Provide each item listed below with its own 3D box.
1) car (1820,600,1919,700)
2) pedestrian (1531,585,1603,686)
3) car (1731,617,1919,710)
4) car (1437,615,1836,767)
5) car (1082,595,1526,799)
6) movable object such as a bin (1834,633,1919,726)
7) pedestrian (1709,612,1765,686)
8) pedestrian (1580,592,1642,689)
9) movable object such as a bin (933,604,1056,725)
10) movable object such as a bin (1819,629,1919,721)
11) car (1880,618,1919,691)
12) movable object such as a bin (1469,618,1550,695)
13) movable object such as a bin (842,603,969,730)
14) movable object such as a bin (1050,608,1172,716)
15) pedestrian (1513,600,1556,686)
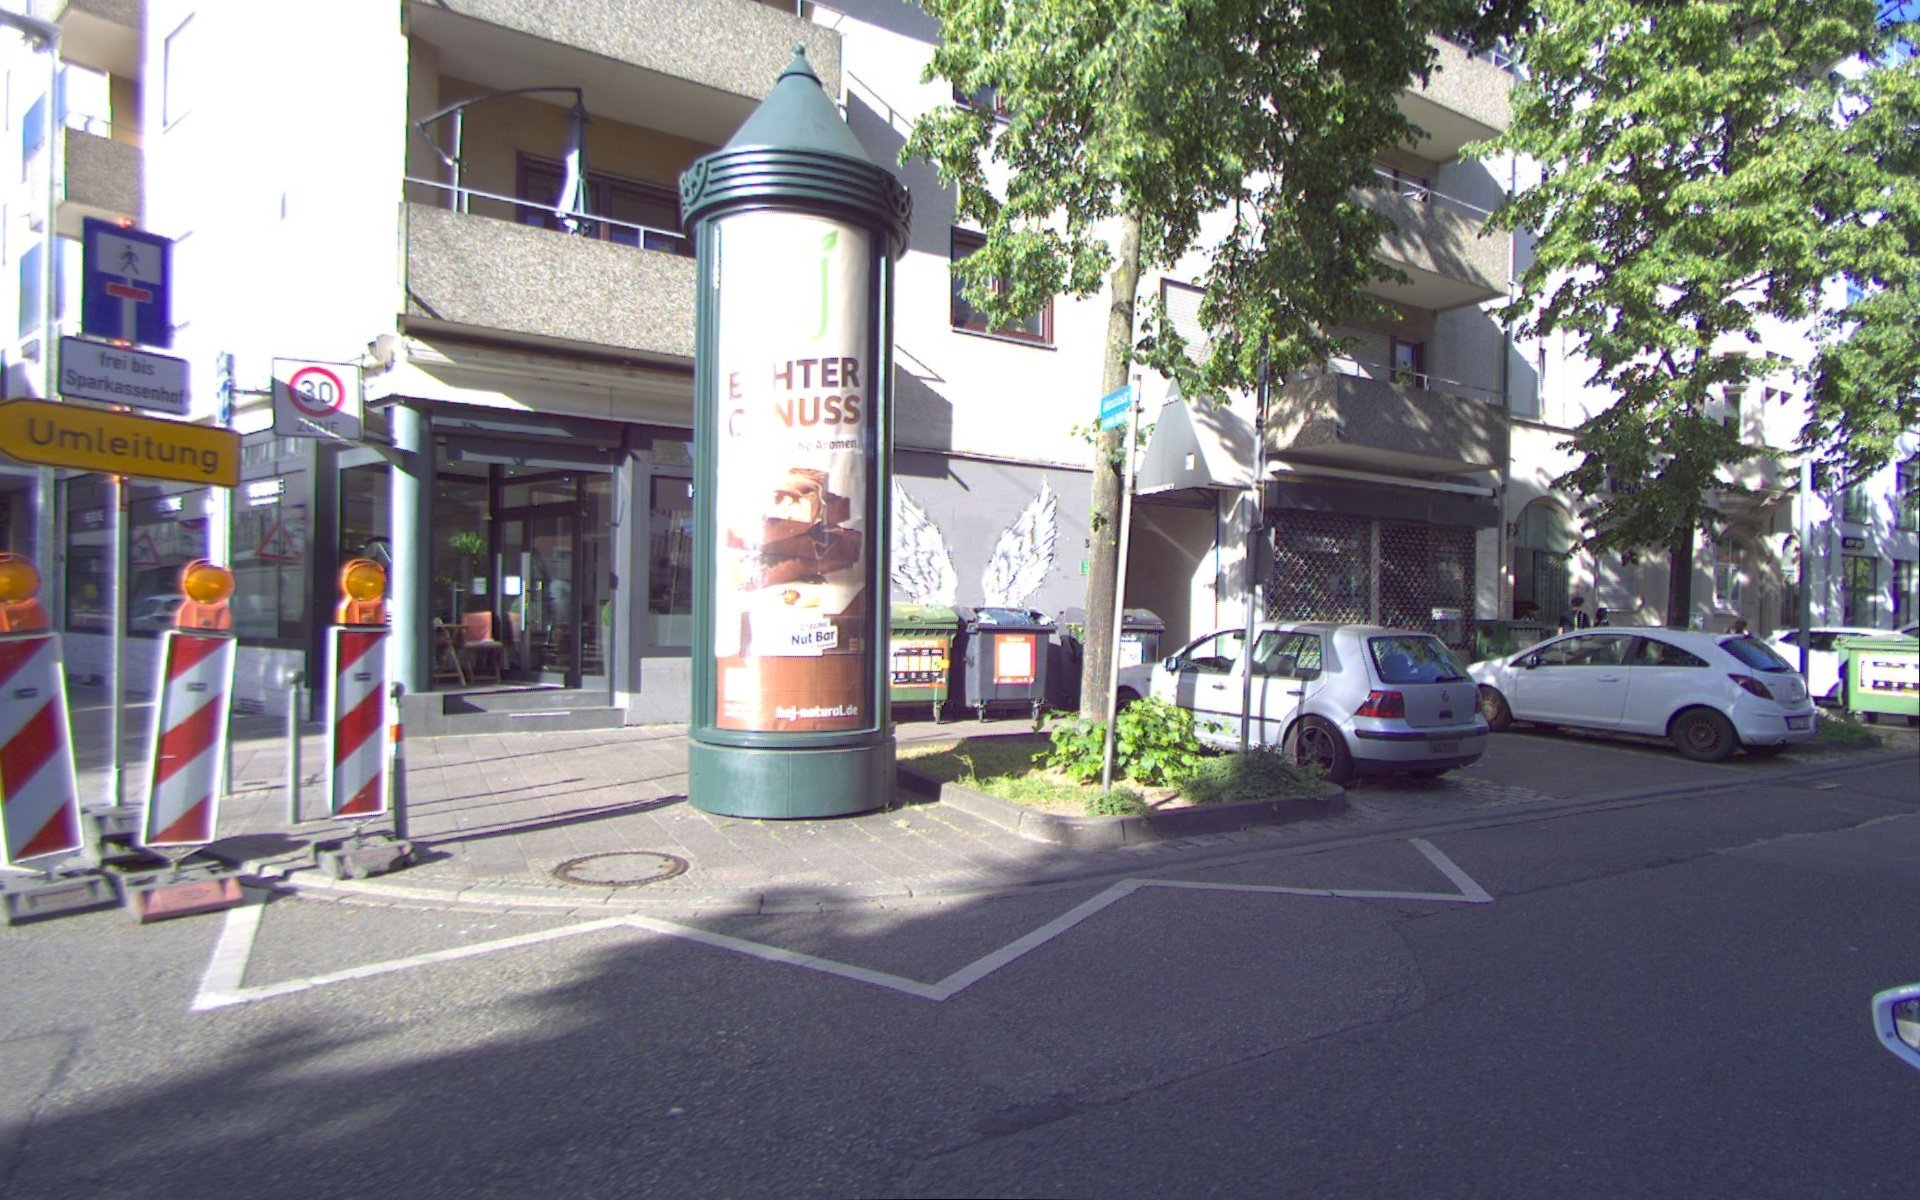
[{"bbox_3d":[19.208,0.964,18.937,2.014,1.861,4.087,1,1,-29],"label":"car"},{"bbox_3d":[11.209,0.642,18.557,0.755,1.790,0.770,1,4,-32],"label":"pedestrian"},{"bbox_3d":[16.553,1.112,17.985,1.864,1.483,3.962,1,0,-29],"label":"car"},{"bbox_3d":[8.179,0.981,12.487,1.691,1.483,3.757,1,1,-32],"label":"car"},{"bbox_3d":[3.115,0.784,9.945,1.728,1.483,3.979,3,0,-30],"label":"car"},{"bbox_3d":[14.086,1.167,15.091,0.860,1.319,1.231,1,0,-31],"label":"movable object such as a bin"},{"bbox_3d":[16.418,1.026,21.222,0.832,1.514,0.590,1,2,-29],"label":"pedestrian"},{"bbox_3d":[11.599,0.708,17.900,0.719,1.648,0.562,1,4,-32],"label":"pedestrian"},{"bbox_3d":[0.436,0.800,13.014,1.243,1.479,1.028,1,-1,-29],"label":"movable object such as a bin"},{"bbox_3d":[14.643,1.169,16.025,0.921,1.363,1.186,1,0,-31],"label":"movable object such as a bin"},{"bbox_3d":[22.527,1.227,21.522,1.770,1.579,3.783,1,0,-29],"label":"car"},{"bbox_3d":[10.599,1.067,19.380,1.211,1.416,0.818,1,0,-27],"label":"movable object such as a bin"},{"bbox_3d":[-0.685,0.782,12.421,1.243,1.479,1.028,1,-1,-29],"label":"movable object such as a bin"},{"bbox_3d":[2.125,0.838,14.197,1.335,1.433,1.073,1,-1,-29],"label":"movable object such as a bin"},{"bbox_3d":[11.480,0.857,20.071,0.631,1.694,0.432,1,0,-28],"label":"pedestrian"}]
